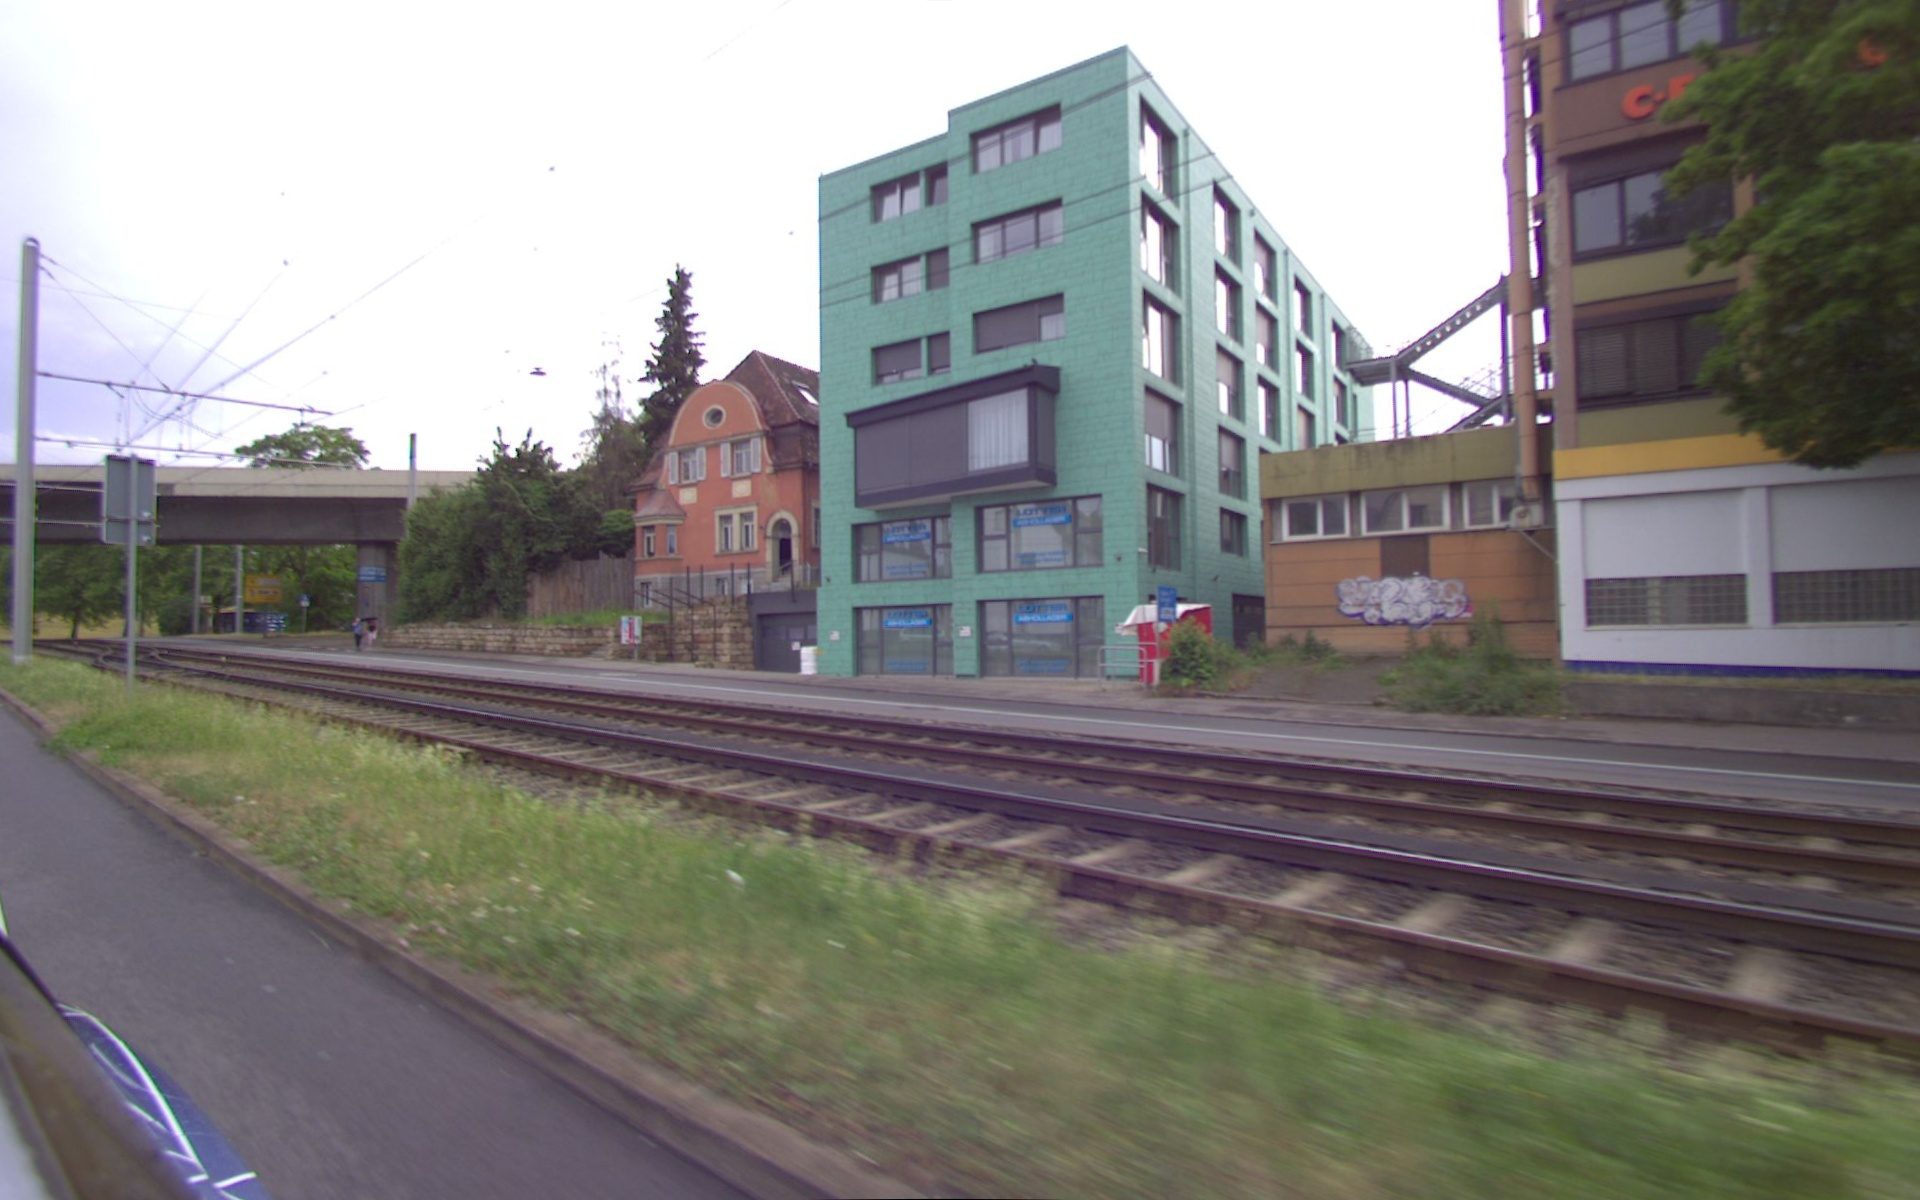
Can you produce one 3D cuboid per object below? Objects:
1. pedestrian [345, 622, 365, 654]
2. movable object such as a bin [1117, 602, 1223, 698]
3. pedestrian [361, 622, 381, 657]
[{"bbox_3d":[-32.092,2.013,53.693,0.685,1.683,0.888,0,-2,-45],"label":"pedestrian"},{"bbox_3d":[5.144,1.200,24.725,1.797,2.173,2.116,-3,-1,34],"label":"movable object such as a bin"},{"bbox_3d":[-31.803,2.128,54.631,0.866,1.845,0.686,-3,-2,43],"label":"pedestrian"}]
